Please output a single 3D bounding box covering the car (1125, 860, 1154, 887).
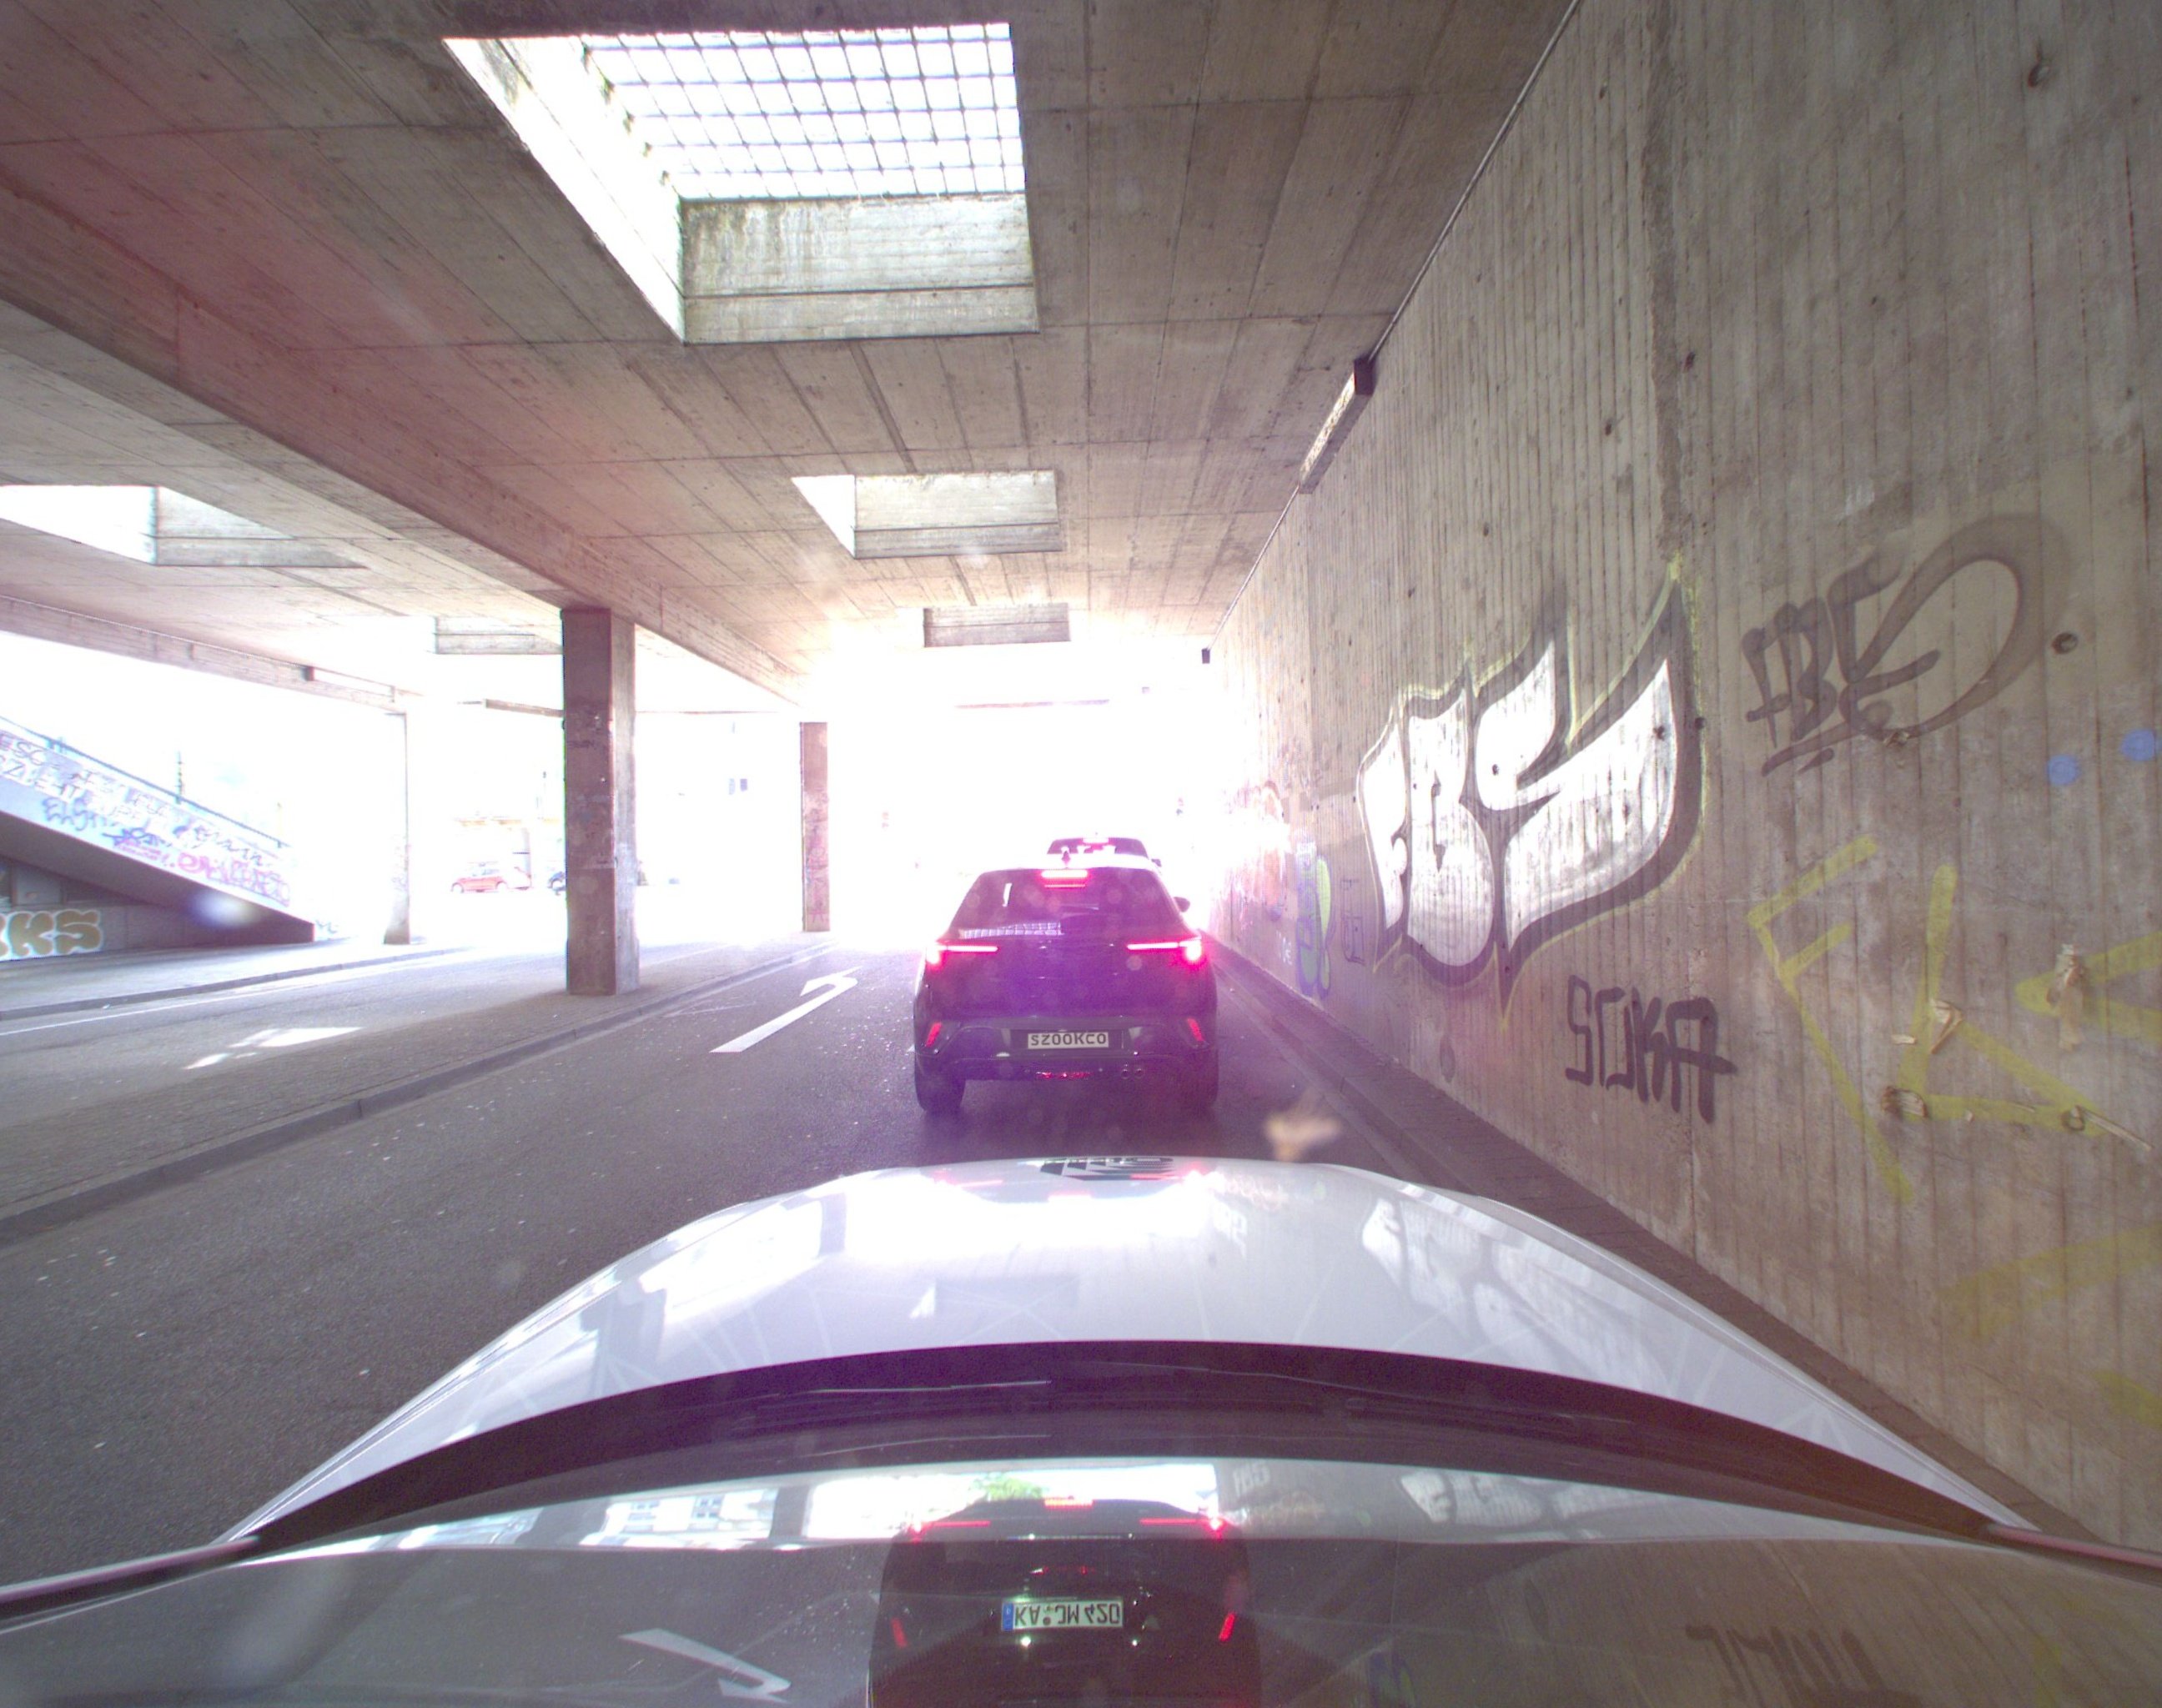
[{"bbox_3d":[4.530,1.444,62.462,1.983,1.970,4.172,0,-1,7],"label":"car"}]

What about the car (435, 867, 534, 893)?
[{"bbox_3d":[-33.024,1.427,45.169,3.975,1.409,1.925,0,-1,-1],"label":"car"}]

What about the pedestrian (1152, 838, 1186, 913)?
[{"bbox_3d":[2.084,0.502,19.295,0.728,1.734,0.874,0,-1,1],"label":"pedestrian"}]

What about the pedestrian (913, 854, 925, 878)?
[{"bbox_3d":[-11.138,0.794,55.995,0.669,1.637,0.741,0,-1,1],"label":"pedestrian"}]

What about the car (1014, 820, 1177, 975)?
[{"bbox_3d":[0.246,0.543,12.144,1.986,1.871,4.002,-2,0,2],"label":"car"}]

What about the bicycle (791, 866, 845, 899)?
[{"bbox_3d":[-9.239,0.997,28.634,1.732,1.118,0.477,0,-1,4],"label":"bicycle"}]

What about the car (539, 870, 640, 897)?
[{"bbox_3d":[-27.232,1.618,45.211,4.393,1.409,1.925,0,-1,-1],"label":"car"}]

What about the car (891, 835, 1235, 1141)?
[{"bbox_3d":[-0.028,0.655,6.185,1.758,1.571,4.002,0,1,2],"label":"car"}]

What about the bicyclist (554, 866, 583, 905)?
[{"bbox_3d":[-18.405,1.120,29.270,0.742,1.376,0.453,0,-1,4],"label":"bicyclist"}]
